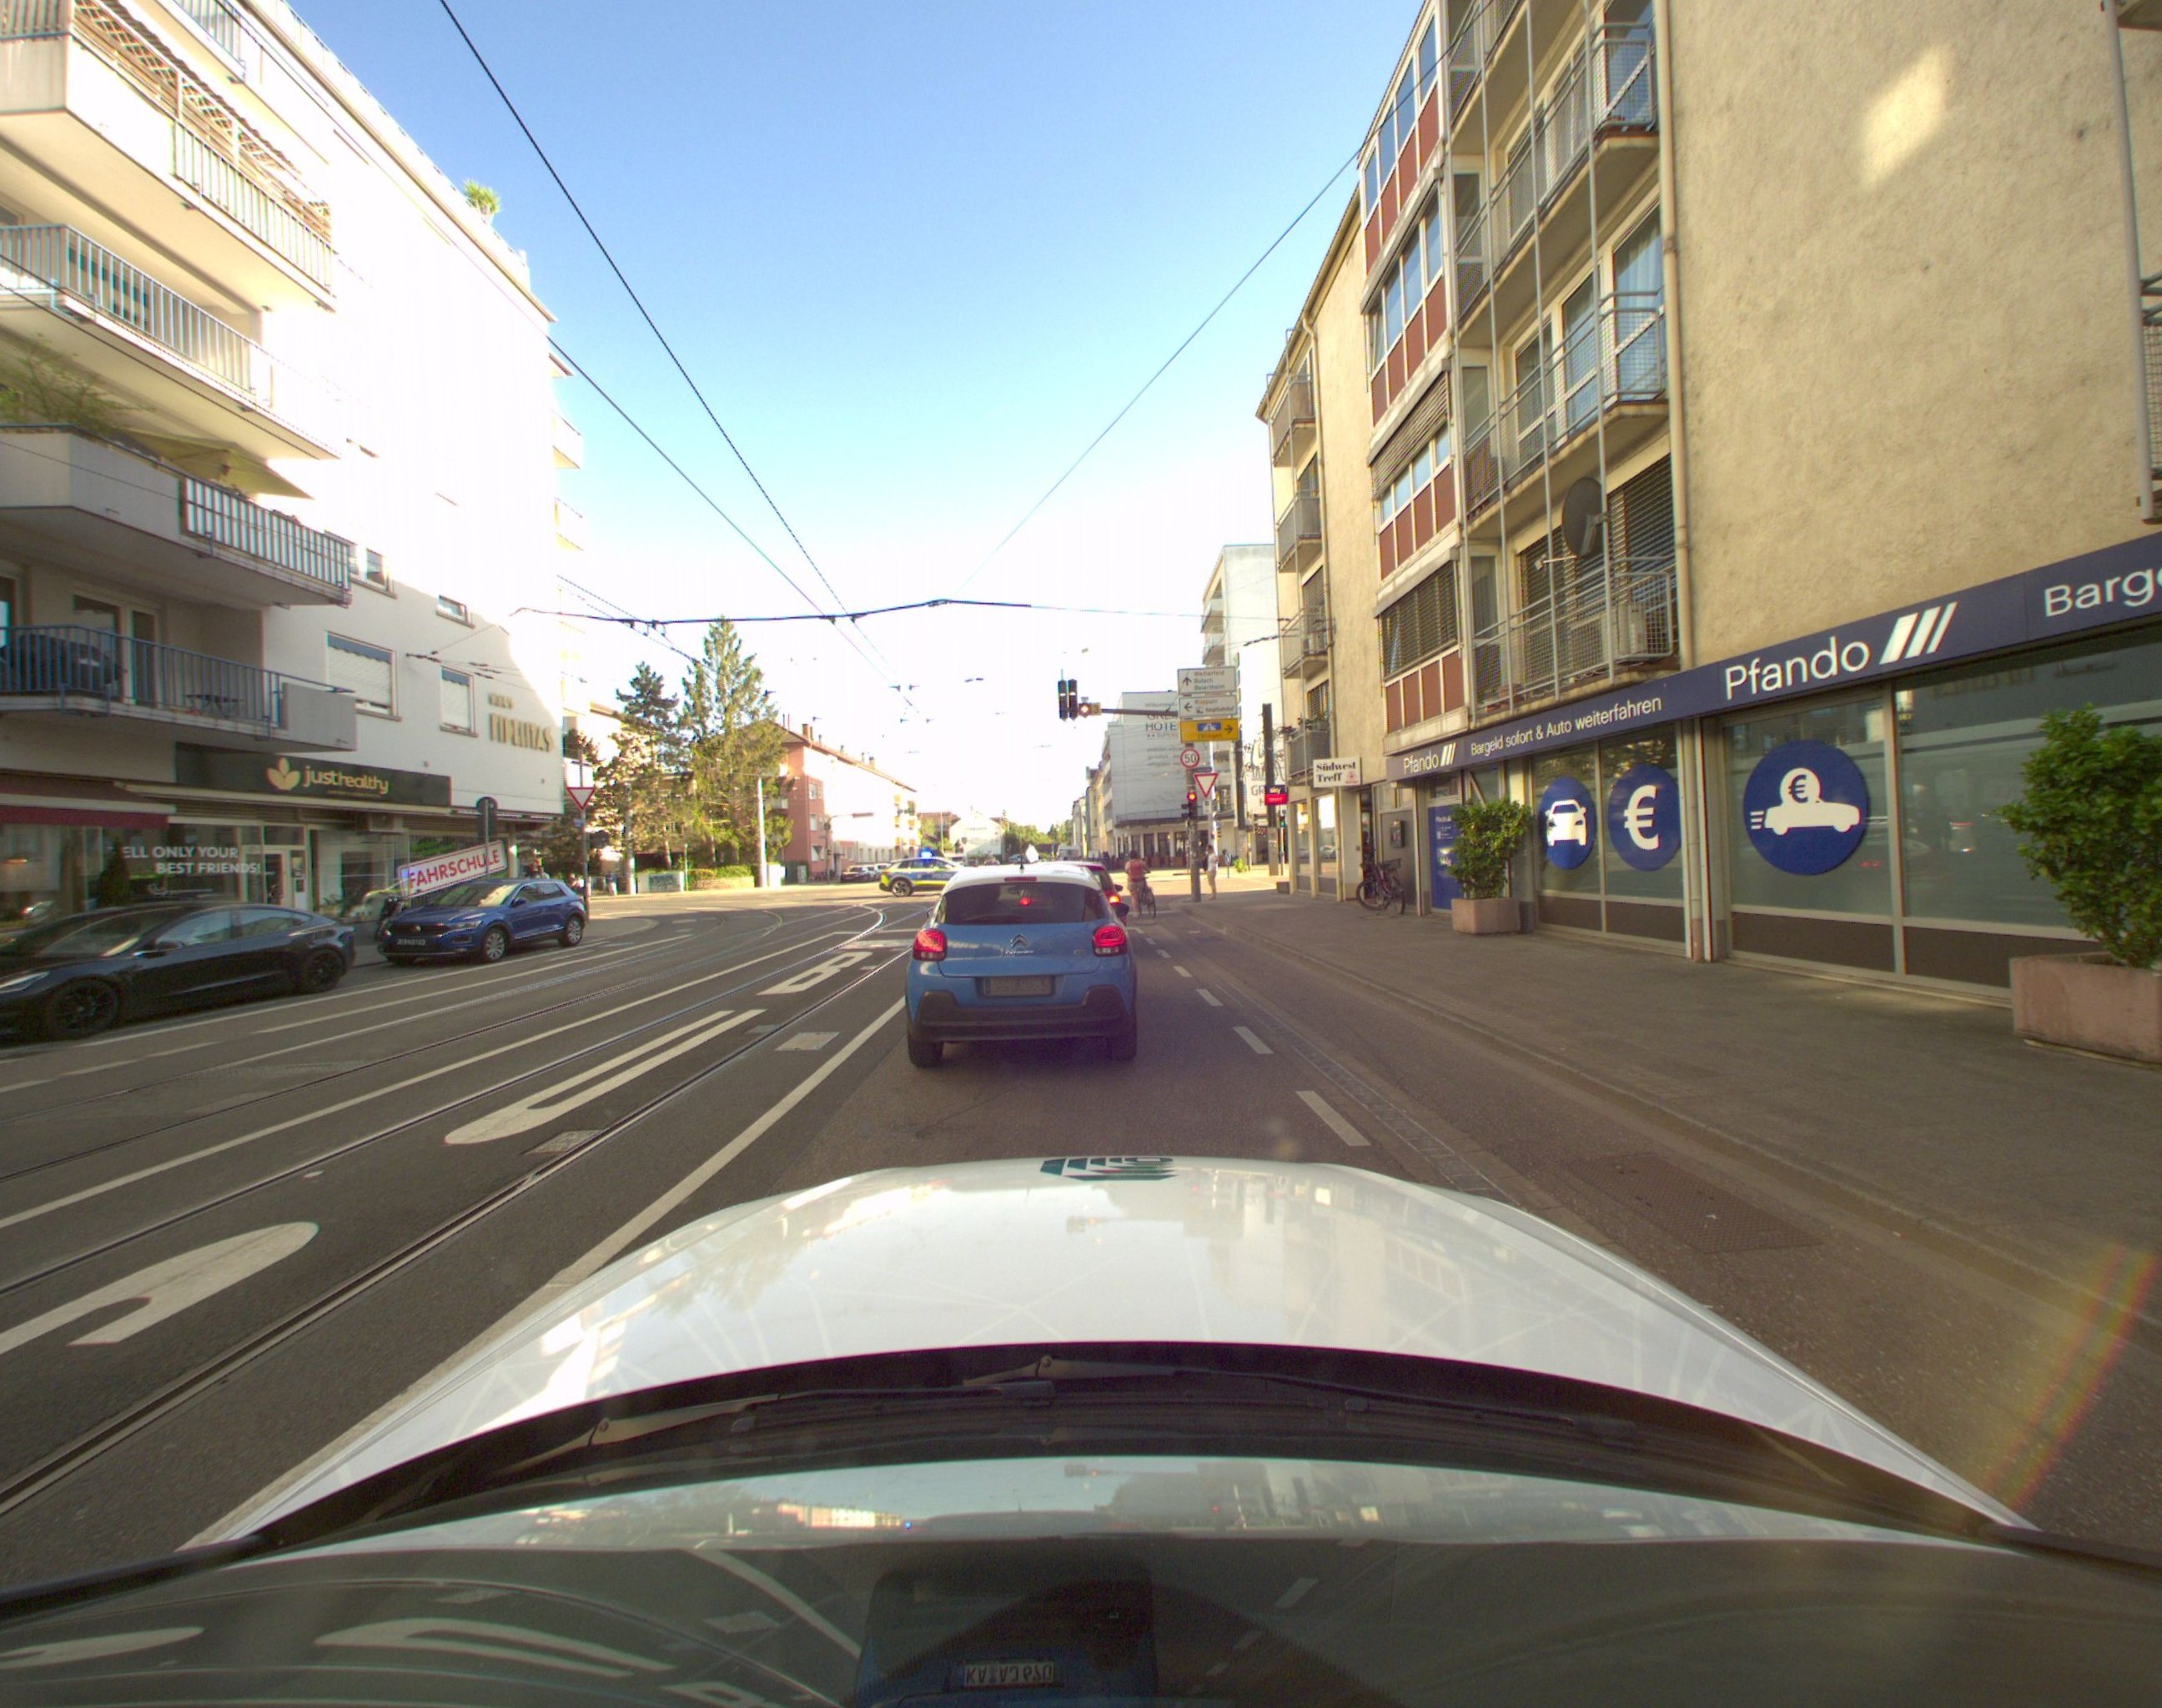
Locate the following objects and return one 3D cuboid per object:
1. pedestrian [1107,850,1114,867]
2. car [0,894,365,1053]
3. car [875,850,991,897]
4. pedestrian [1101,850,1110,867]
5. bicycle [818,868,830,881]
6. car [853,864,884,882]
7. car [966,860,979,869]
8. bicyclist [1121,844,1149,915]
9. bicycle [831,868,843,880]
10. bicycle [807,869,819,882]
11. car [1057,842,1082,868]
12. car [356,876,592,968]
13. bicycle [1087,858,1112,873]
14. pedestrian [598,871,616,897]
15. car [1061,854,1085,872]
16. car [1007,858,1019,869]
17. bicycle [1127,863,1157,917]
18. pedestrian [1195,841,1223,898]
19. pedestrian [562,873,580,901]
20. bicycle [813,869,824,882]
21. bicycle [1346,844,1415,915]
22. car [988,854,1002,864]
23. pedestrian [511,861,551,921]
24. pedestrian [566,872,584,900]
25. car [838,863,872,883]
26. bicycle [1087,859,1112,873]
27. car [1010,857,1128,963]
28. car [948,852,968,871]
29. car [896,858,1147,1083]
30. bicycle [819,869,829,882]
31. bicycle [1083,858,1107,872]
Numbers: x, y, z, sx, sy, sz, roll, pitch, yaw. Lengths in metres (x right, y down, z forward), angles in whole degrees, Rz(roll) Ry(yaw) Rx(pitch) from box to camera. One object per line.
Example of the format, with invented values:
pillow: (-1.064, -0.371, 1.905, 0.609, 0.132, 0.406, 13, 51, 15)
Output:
pedestrian: (2.517, 0.378, 70.132, 0.467, 1.420, 0.524, -2, 0, -11)
car: (-11.981, 1.331, 10.435, 1.720, 1.403, 4.486, 0, 0, -2)
car: (-6.123, 0.791, 34.115, 4.524, 1.684, 1.790, -2, 0, -3)
pedestrian: (2.097, 0.394, 70.394, 0.520, 1.420, 0.550, -3, 0, 22)
bicycle: (-23.056, 1.841, 73.117, 0.536, 1.082, 1.908, -2, 0, -4)
car: (-19.578, 1.716, 75.255, 1.947, 1.519, 4.040, -2, 0, -4)
car: (-19.355, 1.812, 145.256, 1.947, 1.519, 3.995, -2, 0, -4)
bicyclist: (1.370, 0.632, 20.708, 0.598, 1.746, 1.084, -2, 0, 2)
bicycle: (-22.724, 1.859, 75.813, 0.608, 1.082, 1.908, -2, 0, -4)
bicycle: (-22.386, 1.792, 68.088, 0.640, 1.082, 1.905, -2, 0, -9)
car: (-1.045, 0.084, 73.462, 2.074, 2.269, 5.647, -1, 0, -2)
car: (-11.877, 1.244, 16.338, 1.720, 1.505, 4.113, 0, 0, -2)
bicycle: (1.511, 0.928, 65.950, 1.901, 1.064, 0.641, -2, 0, -6)
pedestrian: (-32.432, 2.031, 55.728, 0.810, 1.702, 0.677, -2, 0, -15)
car: (-0.722, 0.740, 68.000, 1.783, 1.359, 3.909, -2, 0, -4)
car: (-14.288, 1.974, 171.423, 2.333, 2.039, 5.044, -2, 0, -4)
bicycle: (1.534, 0.887, 20.741, 0.611, 1.264, 1.911, -2, 0, 2)
pedestrian: (3.840, 0.453, 24.430, 0.747, 1.635, 0.742, -2, 0, 7)
pedestrian: (-32.352, 2.072, 51.712, 0.812, 1.702, 0.629, -2, 0, -22)
bicycle: (-21.980, 1.792, 68.198, 0.537, 1.082, 1.905, -2, 0, -9)
bicycle: (5.761, 0.457, 15.755, 0.637, 1.264, 1.911, -2, 0, 2)
car: (-15.981, 0.961, 151.094, 2.007, 1.627, 5.032, -2, 0, -12)
pedestrian: (-17.287, 1.169, 25.608, 0.761, 1.834, 0.725, -3, 0, 28)
pedestrian: (-31.706, 1.970, 51.002, 0.812, 1.702, 0.602, -2, 0, -22)
car: (-19.297, 1.599, 69.631, 1.947, 1.519, 3.995, -2, 0, -4)
bicycle: (1.519, 0.959, 67.256, 1.901, 1.064, 0.641, -2, 0, -6)
car: (-0.224, 0.810, 13.723, 1.675, 1.462, 3.997, -1, 0, -2)
car: (-18.140, 1.100, 120.587, 2.489, 2.712, 5.828, -2, 0, -5)
car: (-0.449, 0.791, 7.514, 1.675, 1.462, 3.997, -1, 0, -2)
bicycle: (-21.602, 1.792, 68.483, 0.537, 1.082, 1.905, -2, 0, -9)
bicycle: (1.154, 0.951, 68.459, 1.901, 1.064, 0.641, -2, 0, -6)
